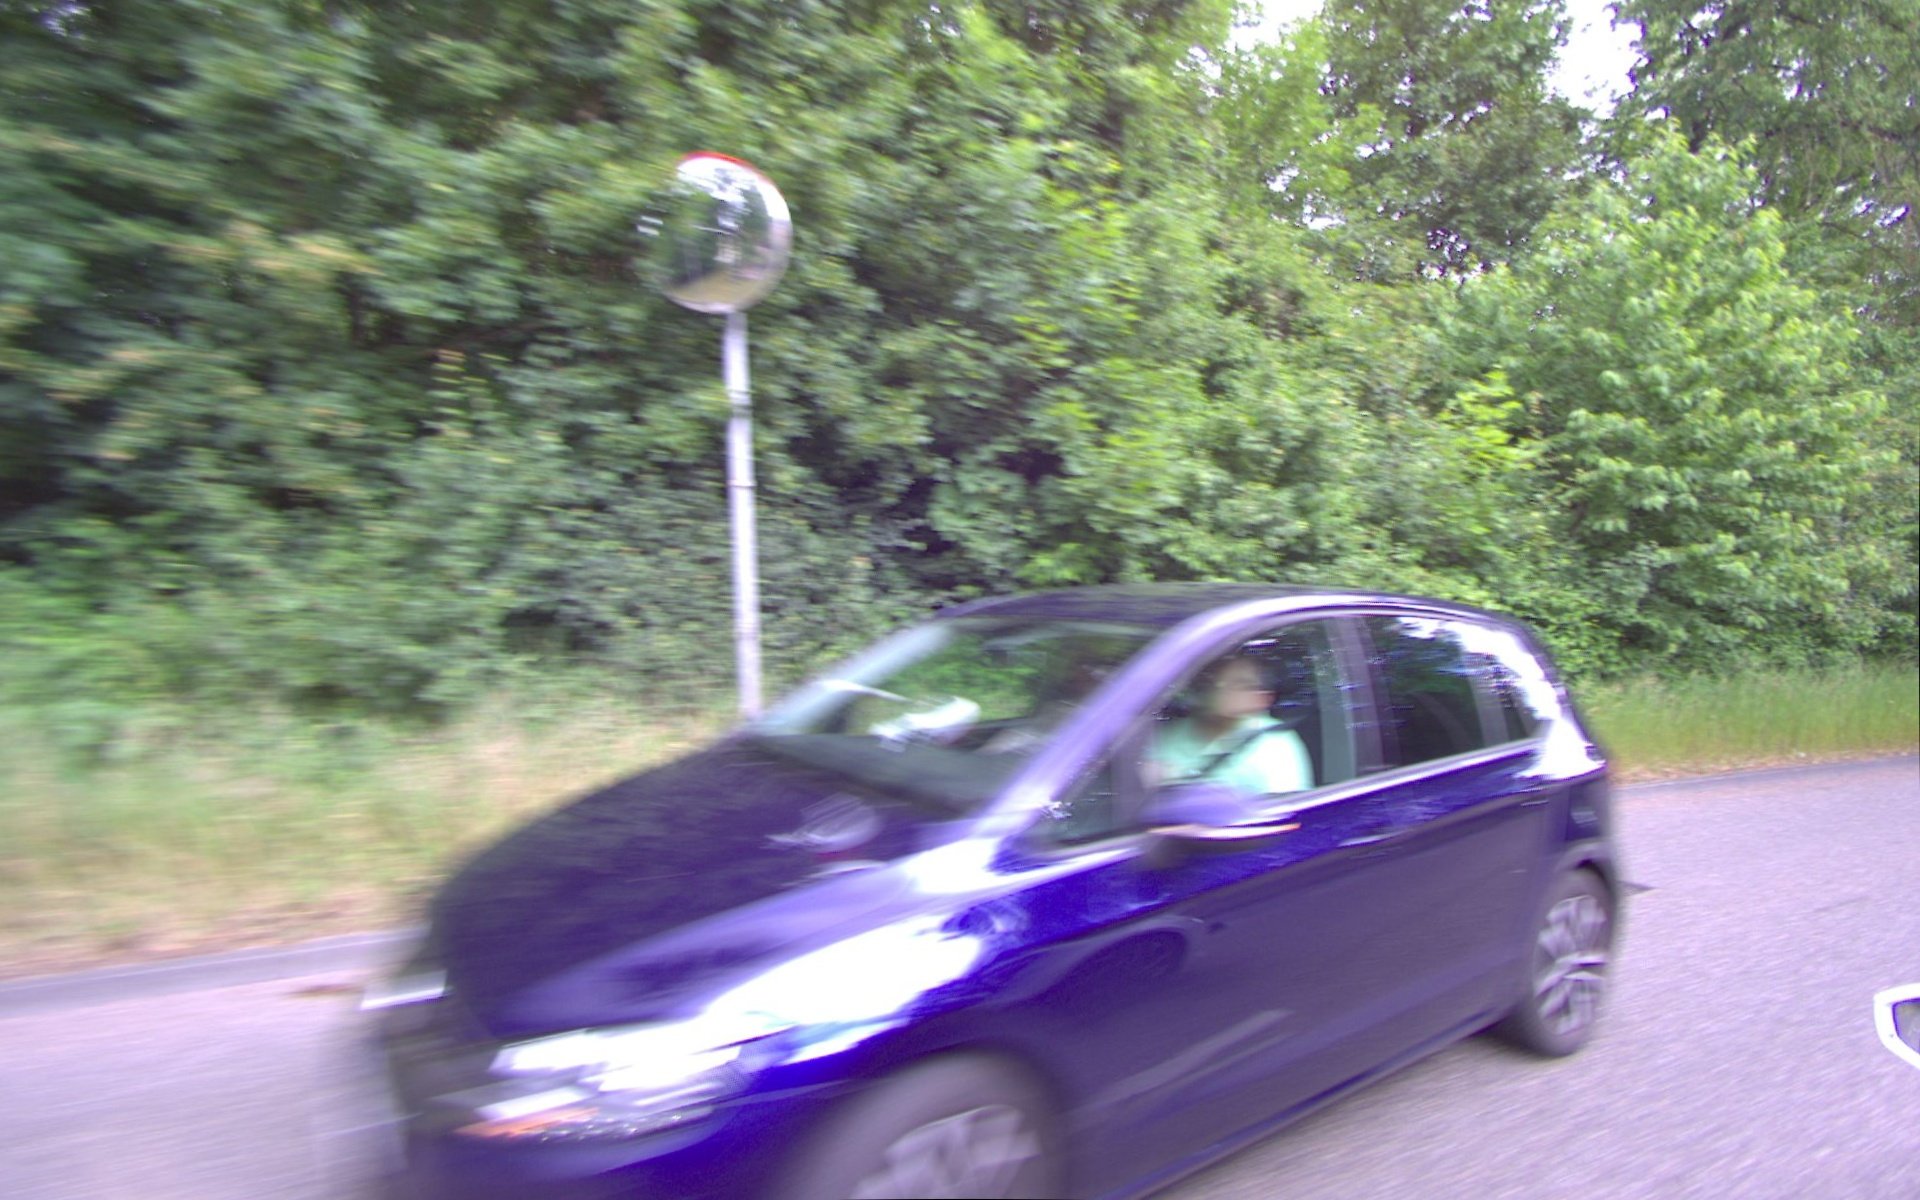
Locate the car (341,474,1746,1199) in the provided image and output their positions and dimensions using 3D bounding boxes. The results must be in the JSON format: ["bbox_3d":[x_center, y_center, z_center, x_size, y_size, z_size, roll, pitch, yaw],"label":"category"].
[{"bbox_3d":[0.742,0.715,3.479,4.794,1.534,1.777,4,-2,-35],"label":"car"}]
